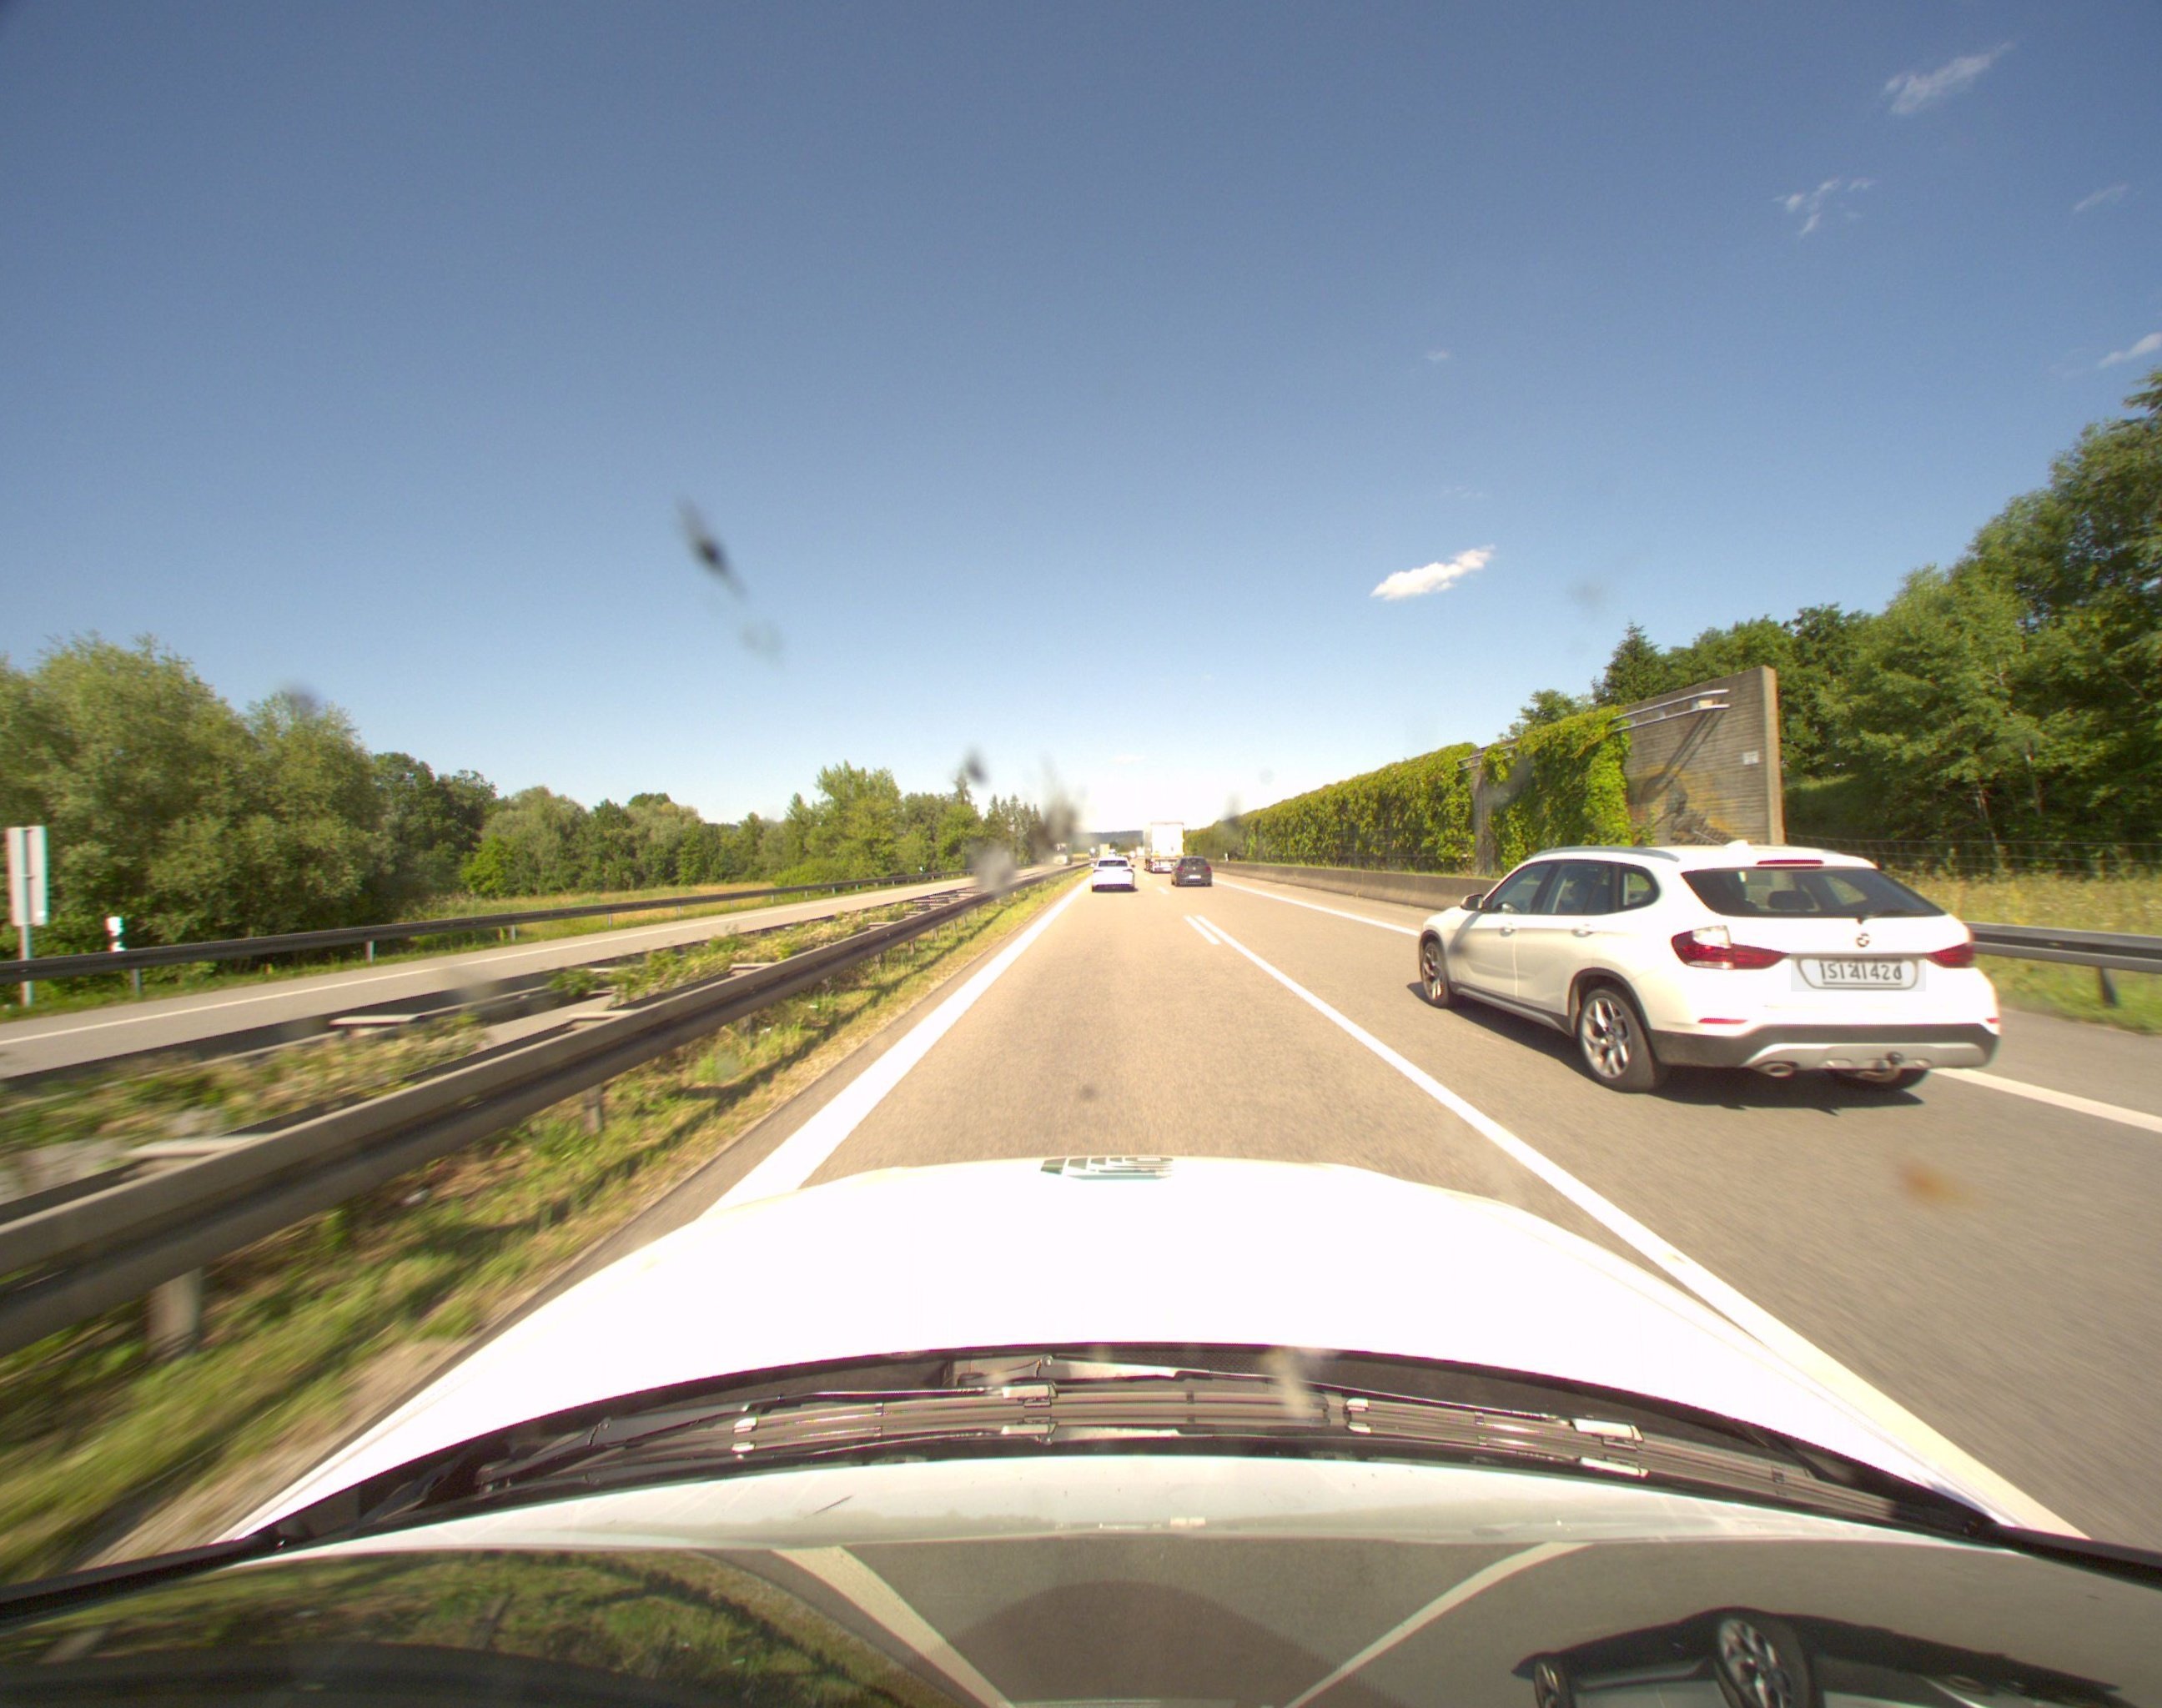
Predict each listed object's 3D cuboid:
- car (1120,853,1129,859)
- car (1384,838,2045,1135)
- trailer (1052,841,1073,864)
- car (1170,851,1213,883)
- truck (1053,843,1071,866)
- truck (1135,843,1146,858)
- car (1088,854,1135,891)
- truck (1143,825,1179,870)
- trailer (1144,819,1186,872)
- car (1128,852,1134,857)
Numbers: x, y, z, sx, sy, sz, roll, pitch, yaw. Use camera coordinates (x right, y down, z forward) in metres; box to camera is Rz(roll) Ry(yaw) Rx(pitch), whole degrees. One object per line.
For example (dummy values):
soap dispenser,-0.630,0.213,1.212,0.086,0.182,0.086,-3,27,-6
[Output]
car,9.703,0.473,182.268,1.764,1.421,4.497,-1,0,2
car,4.160,0.647,6.653,1.678,1.496,4.990,-1,1,2
trailer,-3.399,-0.248,153.858,2.651,4.008,14.096,-3,0,3
car,5.292,0.609,39.394,1.658,1.454,4.547,-1,0,3
truck,-3.503,0.127,150.411,2.633,4.008,7.198,-3,0,3
truck,18.853,-1.221,259.689,3.139,4.612,8.913,-2,0,3
car,1.317,0.750,34.709,1.833,1.421,5.258,-1,0,3
truck,7.498,-0.572,77.263,2.829,3.966,7.049,-3,0,3
trailer,7.072,-0.680,70.564,2.806,3.966,14.173,-3,0,3
car,15.697,0.161,257.552,1.762,1.421,4.371,-1,0,5
